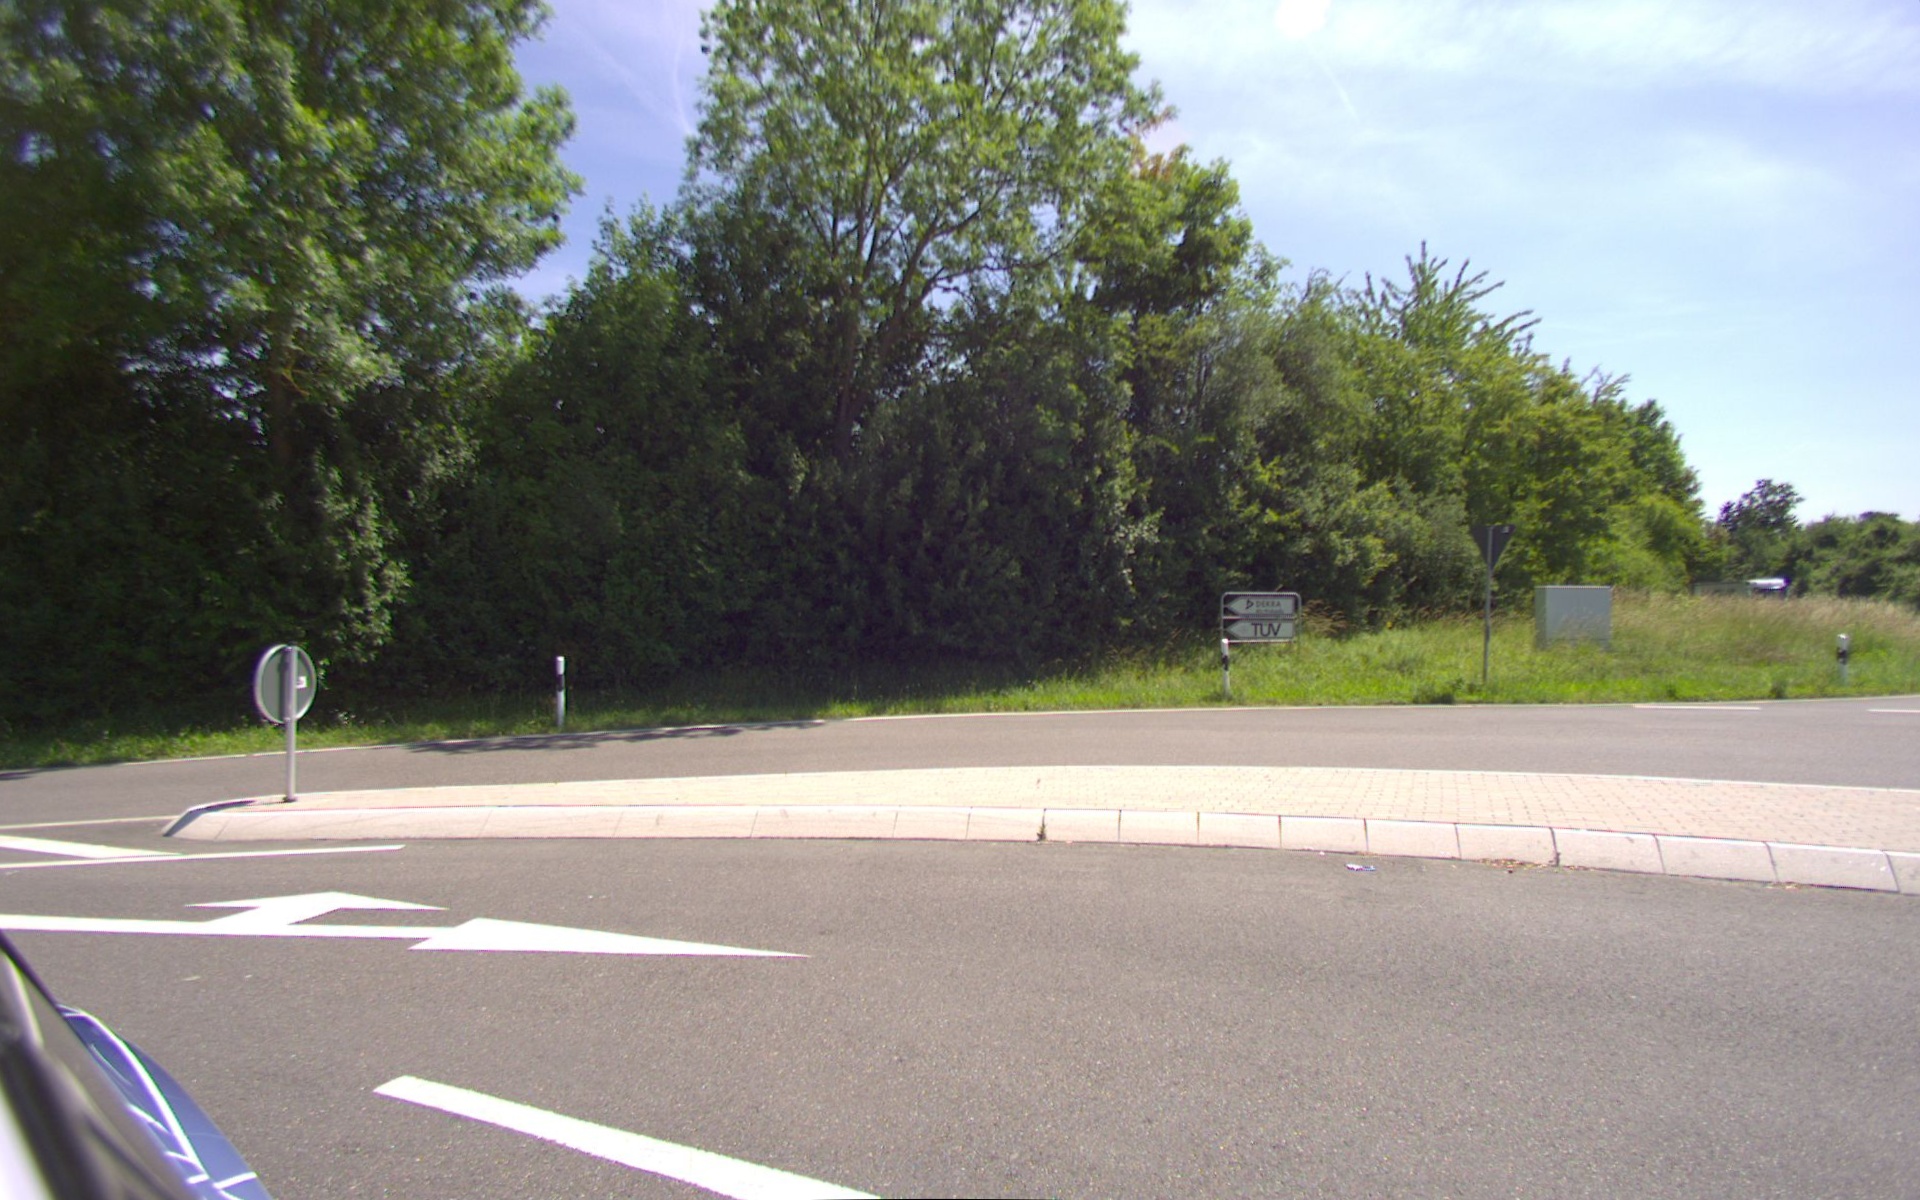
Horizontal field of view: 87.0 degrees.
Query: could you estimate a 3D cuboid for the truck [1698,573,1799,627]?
[{"bbox_3d":[73.105,0.215,94.365,3.125,4.481,16.324,-3,-2,23],"label":"truck"}]
